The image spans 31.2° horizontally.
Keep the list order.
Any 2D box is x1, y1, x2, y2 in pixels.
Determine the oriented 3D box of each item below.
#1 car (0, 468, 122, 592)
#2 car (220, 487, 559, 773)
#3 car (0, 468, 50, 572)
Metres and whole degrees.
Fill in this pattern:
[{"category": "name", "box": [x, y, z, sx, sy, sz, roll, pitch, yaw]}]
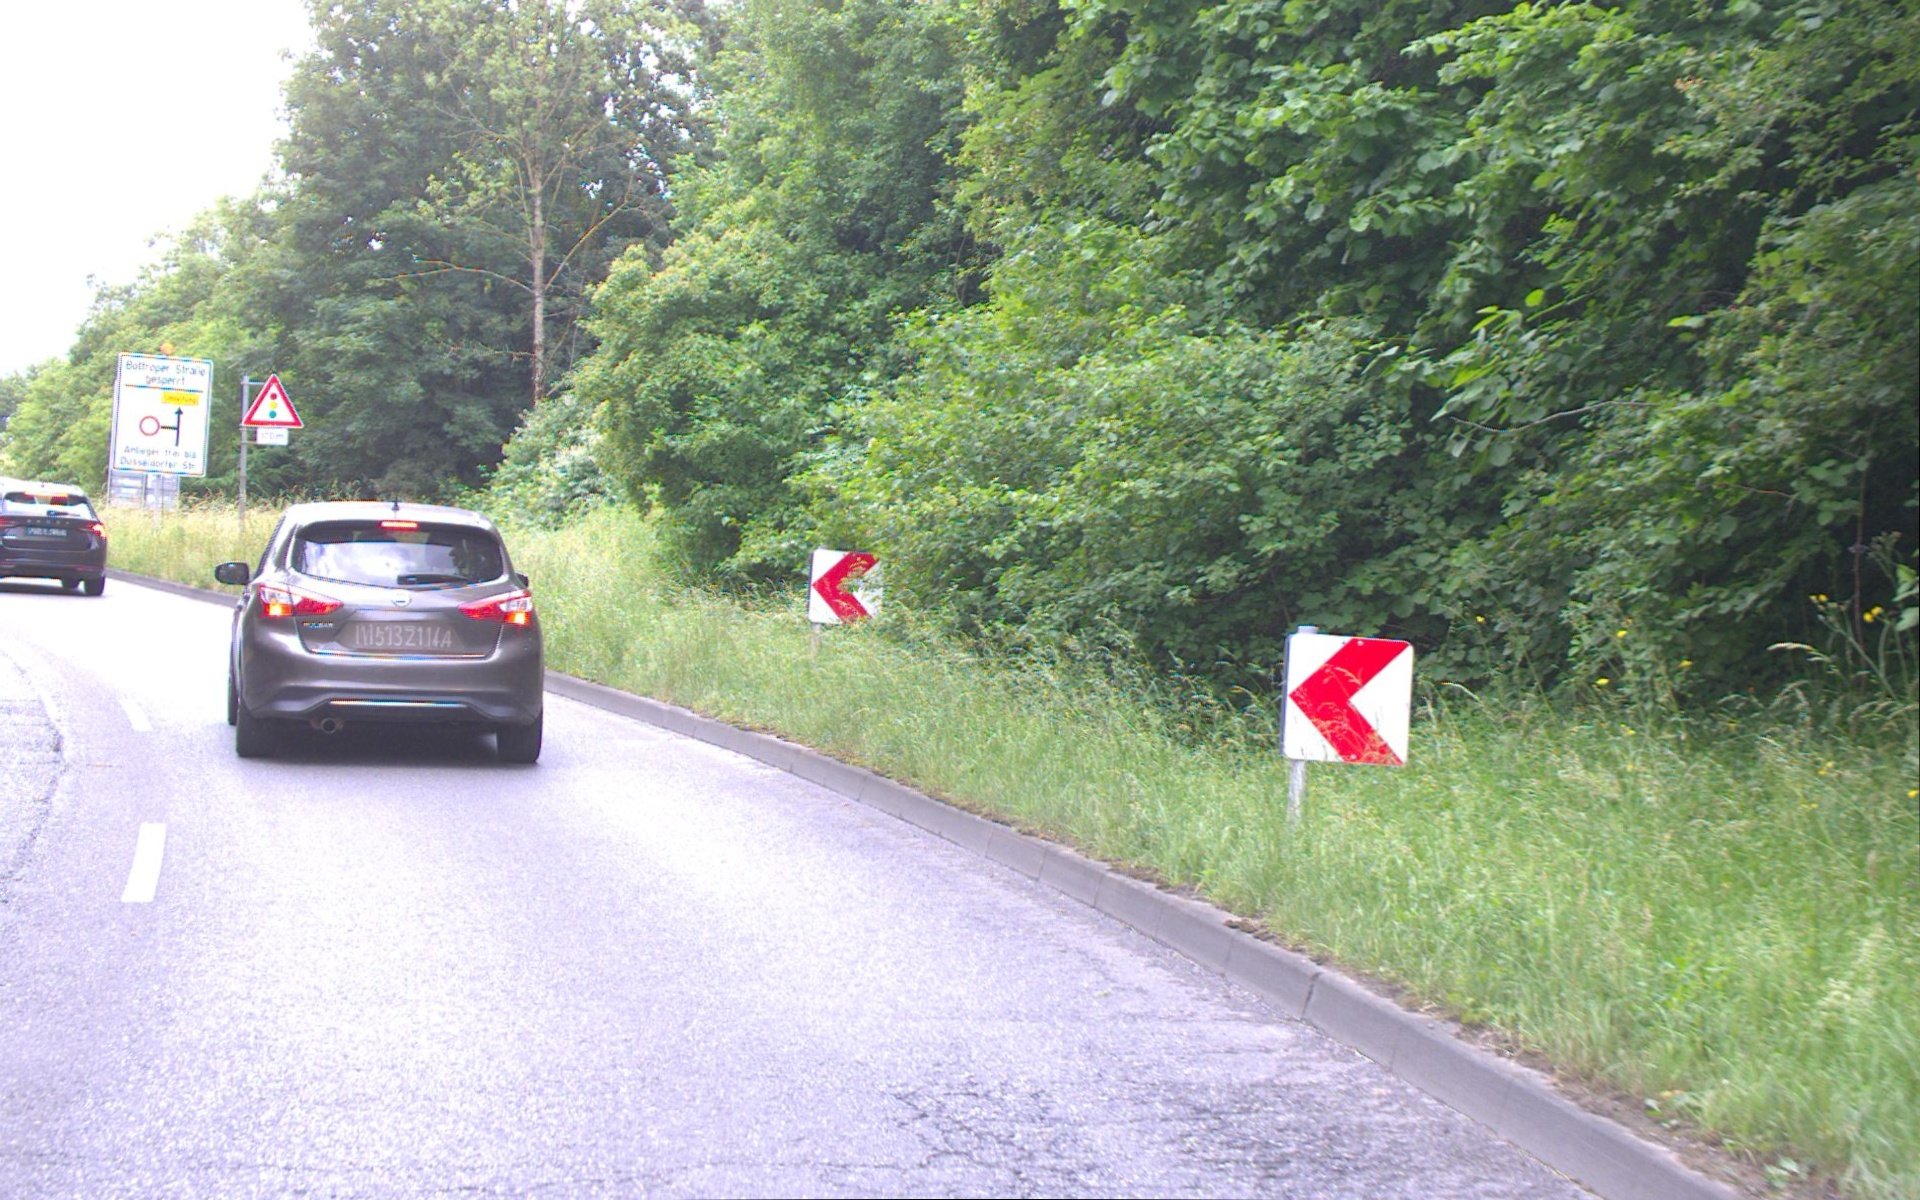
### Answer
[{"category": "car", "box": [-12.497, -0.981, 46.441, 1.829, 1.551, 3.626, 2, 2, -21]}, {"category": "car", "box": [-3.596, 0.124, 21.201, 1.829, 1.551, 3.500, 2, 2, -12]}, {"category": "car", "box": [-15.335, -1.299, 53.764, 1.735, 1.551, 3.545, 2, 2, -21]}]
